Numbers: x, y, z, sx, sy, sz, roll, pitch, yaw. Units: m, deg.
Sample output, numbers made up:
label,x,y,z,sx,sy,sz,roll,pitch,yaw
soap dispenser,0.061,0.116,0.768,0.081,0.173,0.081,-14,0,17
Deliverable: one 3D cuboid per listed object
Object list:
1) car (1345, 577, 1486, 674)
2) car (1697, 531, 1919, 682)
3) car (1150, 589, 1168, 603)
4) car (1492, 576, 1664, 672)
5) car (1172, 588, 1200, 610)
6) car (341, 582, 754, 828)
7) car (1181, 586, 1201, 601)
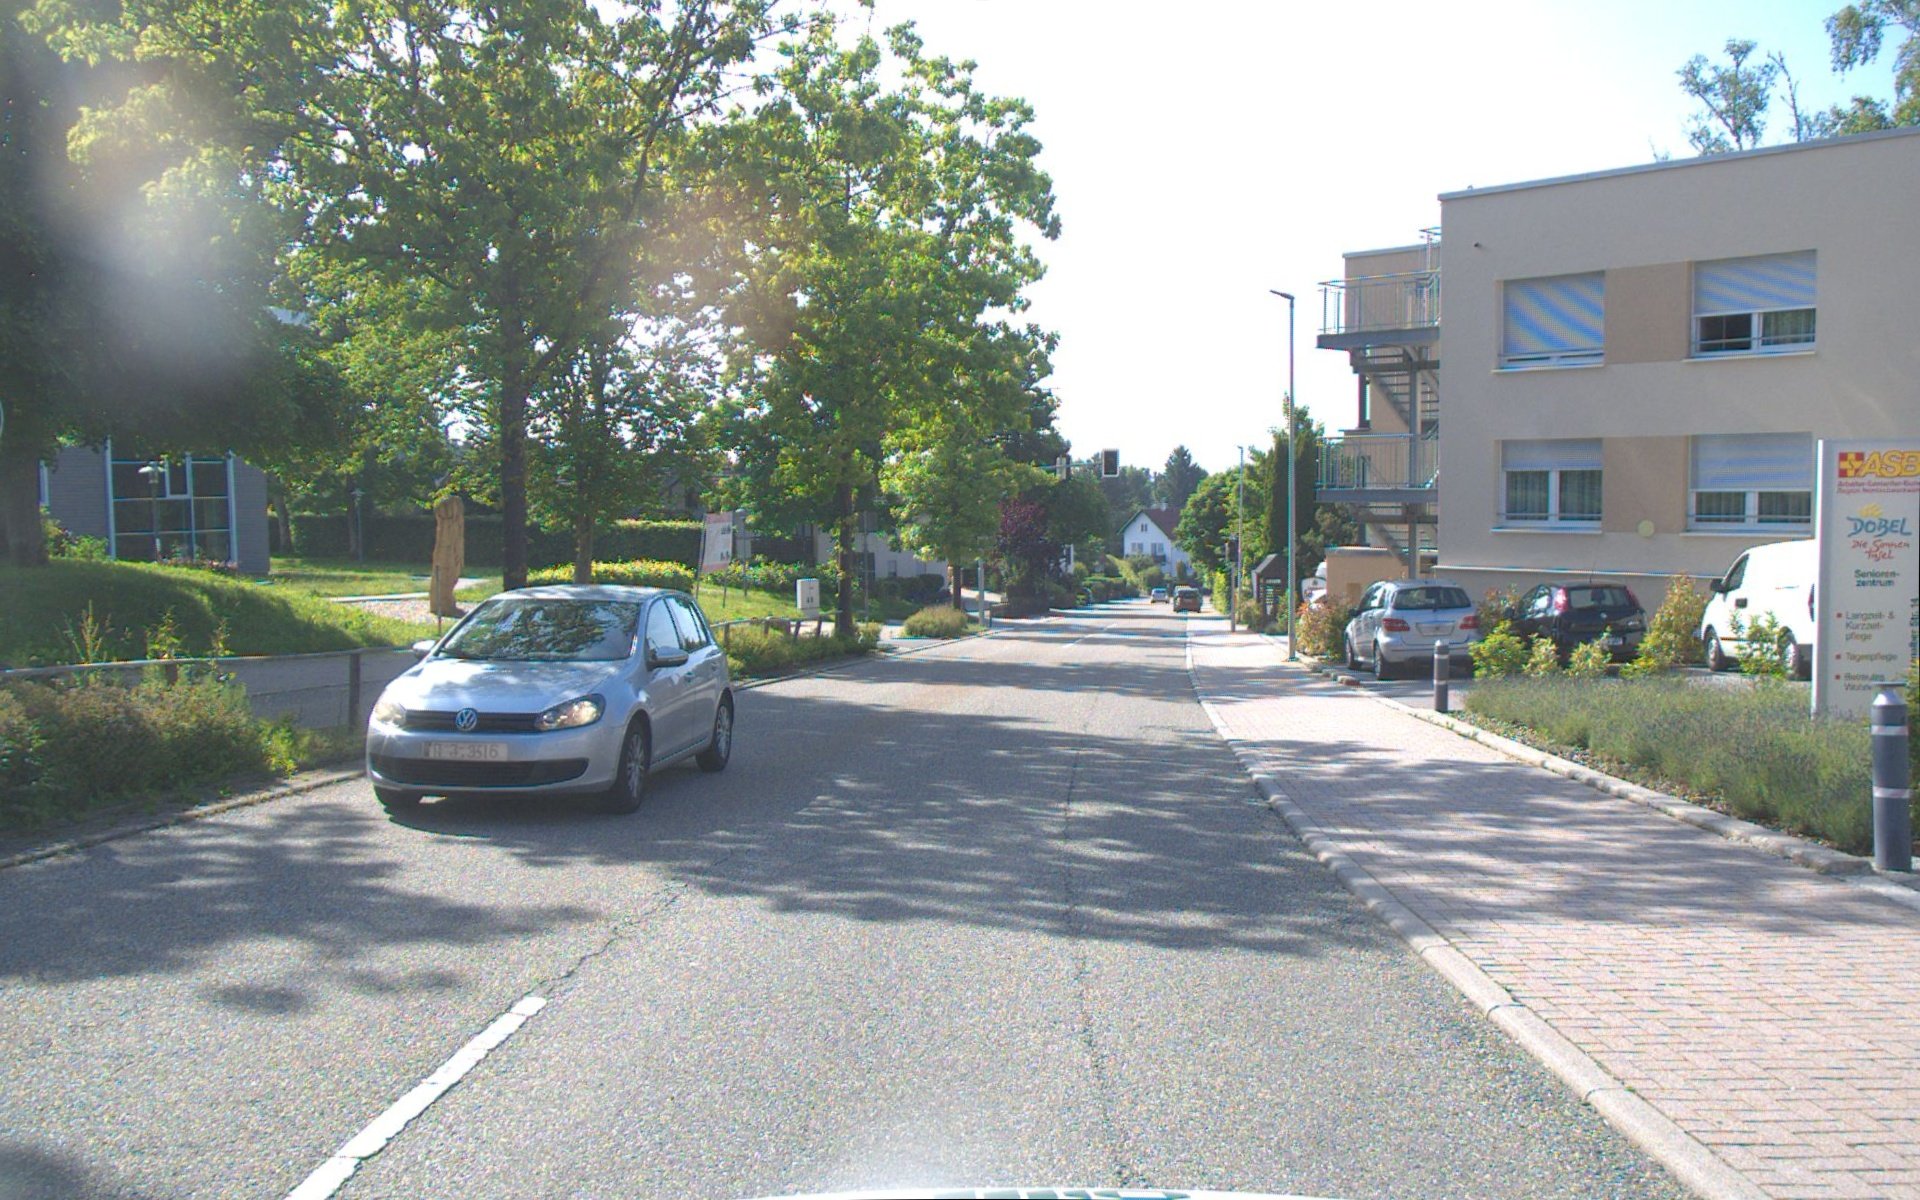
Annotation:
label,x,y,z,sx,sy,sz,roll,pitch,yaw
car,7.859,0.395,28.846,1.672,1.562,4.010,-1,0,5
car,12.474,0.063,24.071,1.765,1.969,4.738,-1,0,5
car,21.169,-0.453,175.725,1.671,1.452,4.011,-1,0,9
car,10.181,0.354,27.552,1.672,1.452,4.010,-1,0,5
car,15.493,-0.064,113.408,1.672,1.452,4.010,-1,0,5
car,-2.774,0.616,12.106,1.692,1.468,4.067,1,1,5
car,21.741,-0.618,155.569,1.672,1.452,4.010,-1,0,5
